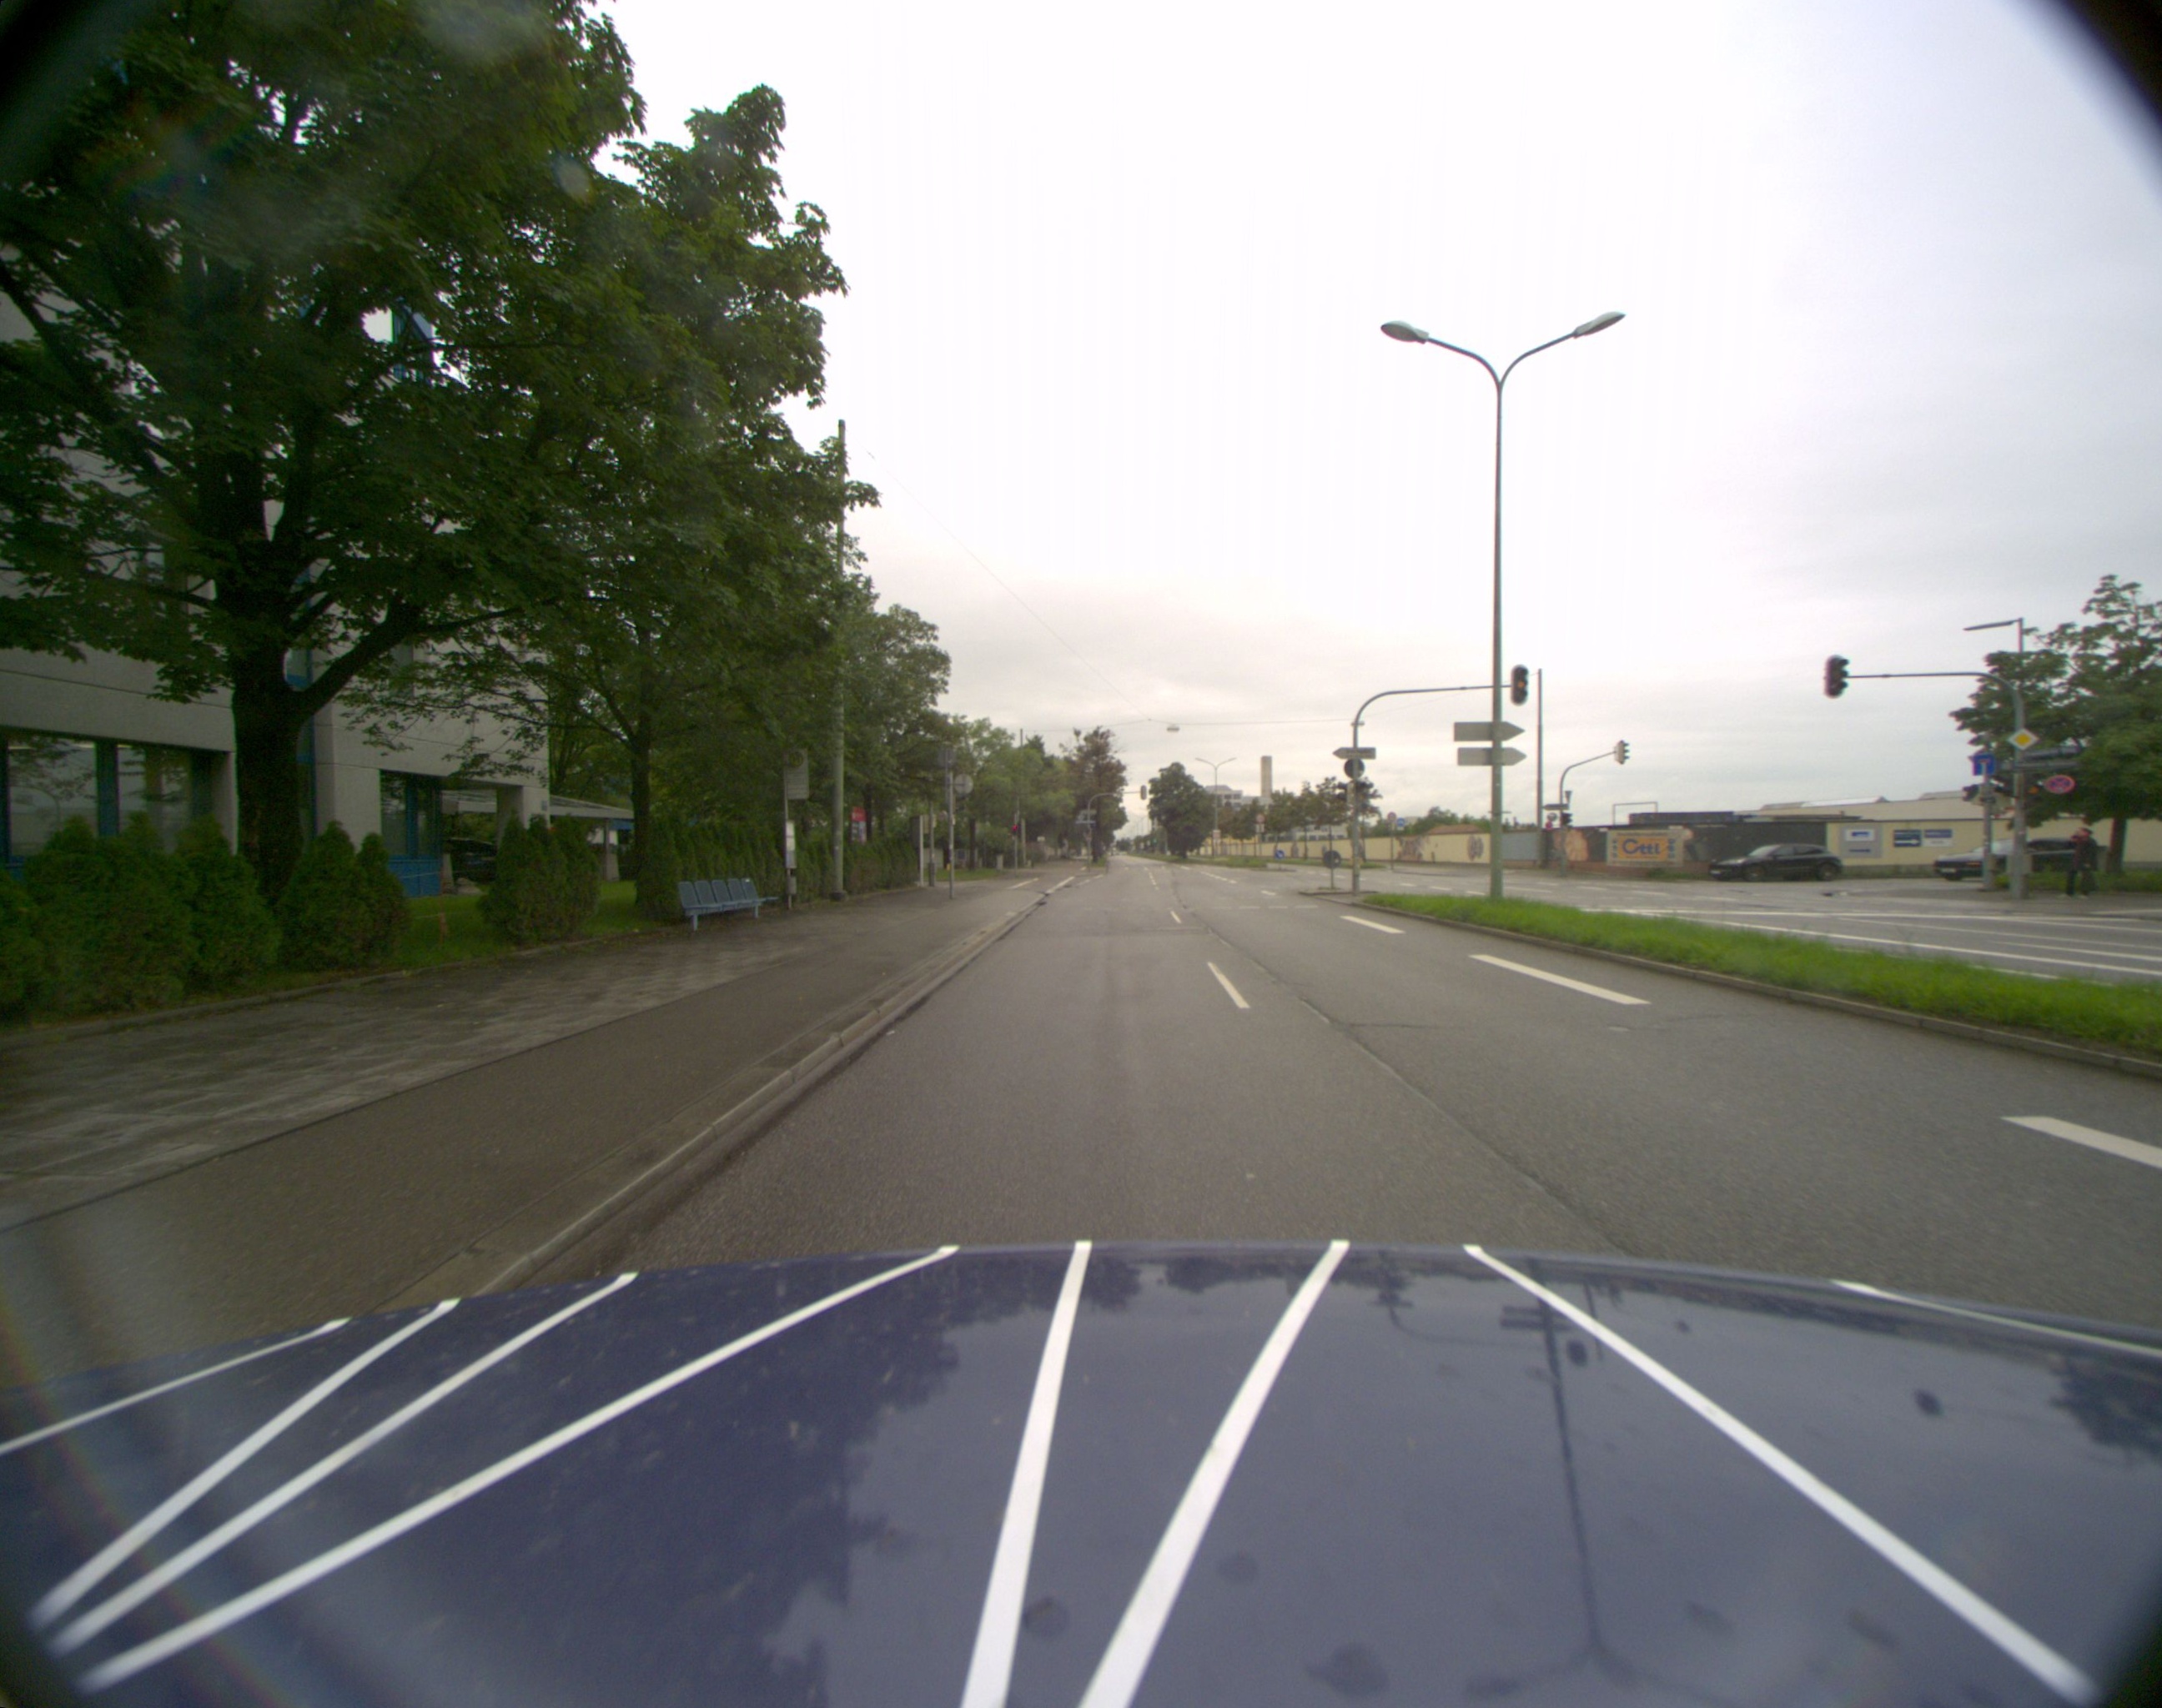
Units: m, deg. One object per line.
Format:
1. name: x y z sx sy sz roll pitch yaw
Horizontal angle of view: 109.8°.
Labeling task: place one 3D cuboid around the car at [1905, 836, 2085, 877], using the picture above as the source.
1. car: 36.878 0.105 30.767 4.627 1.524 2.001 -1 1 5

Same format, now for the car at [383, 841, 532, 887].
1. car: -20.567 0.287 25.087 4.167 1.410 1.872 1 1 19

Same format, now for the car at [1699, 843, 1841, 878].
1. car: 29.901 0.266 33.091 4.259 1.419 2.001 -1 1 5

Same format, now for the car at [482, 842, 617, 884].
1. car: -19.053 0.295 27.264 4.167 1.410 1.872 1 1 19

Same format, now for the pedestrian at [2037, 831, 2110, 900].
1. pedestrian: 23.919 0.269 18.317 0.804 1.606 0.687 -3 1 1

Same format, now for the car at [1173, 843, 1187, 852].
1. car: 16.840 -1.089 129.031 1.916 1.498 4.439 0 1 3

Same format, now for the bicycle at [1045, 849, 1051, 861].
1. bicycle: -3.570 0.114 82.370 0.583 1.288 2.454 0 1 0

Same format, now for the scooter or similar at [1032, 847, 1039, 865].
1. scooter or similar: -3.766 0.155 63.017 0.371 1.416 1.404 0 1 -13
